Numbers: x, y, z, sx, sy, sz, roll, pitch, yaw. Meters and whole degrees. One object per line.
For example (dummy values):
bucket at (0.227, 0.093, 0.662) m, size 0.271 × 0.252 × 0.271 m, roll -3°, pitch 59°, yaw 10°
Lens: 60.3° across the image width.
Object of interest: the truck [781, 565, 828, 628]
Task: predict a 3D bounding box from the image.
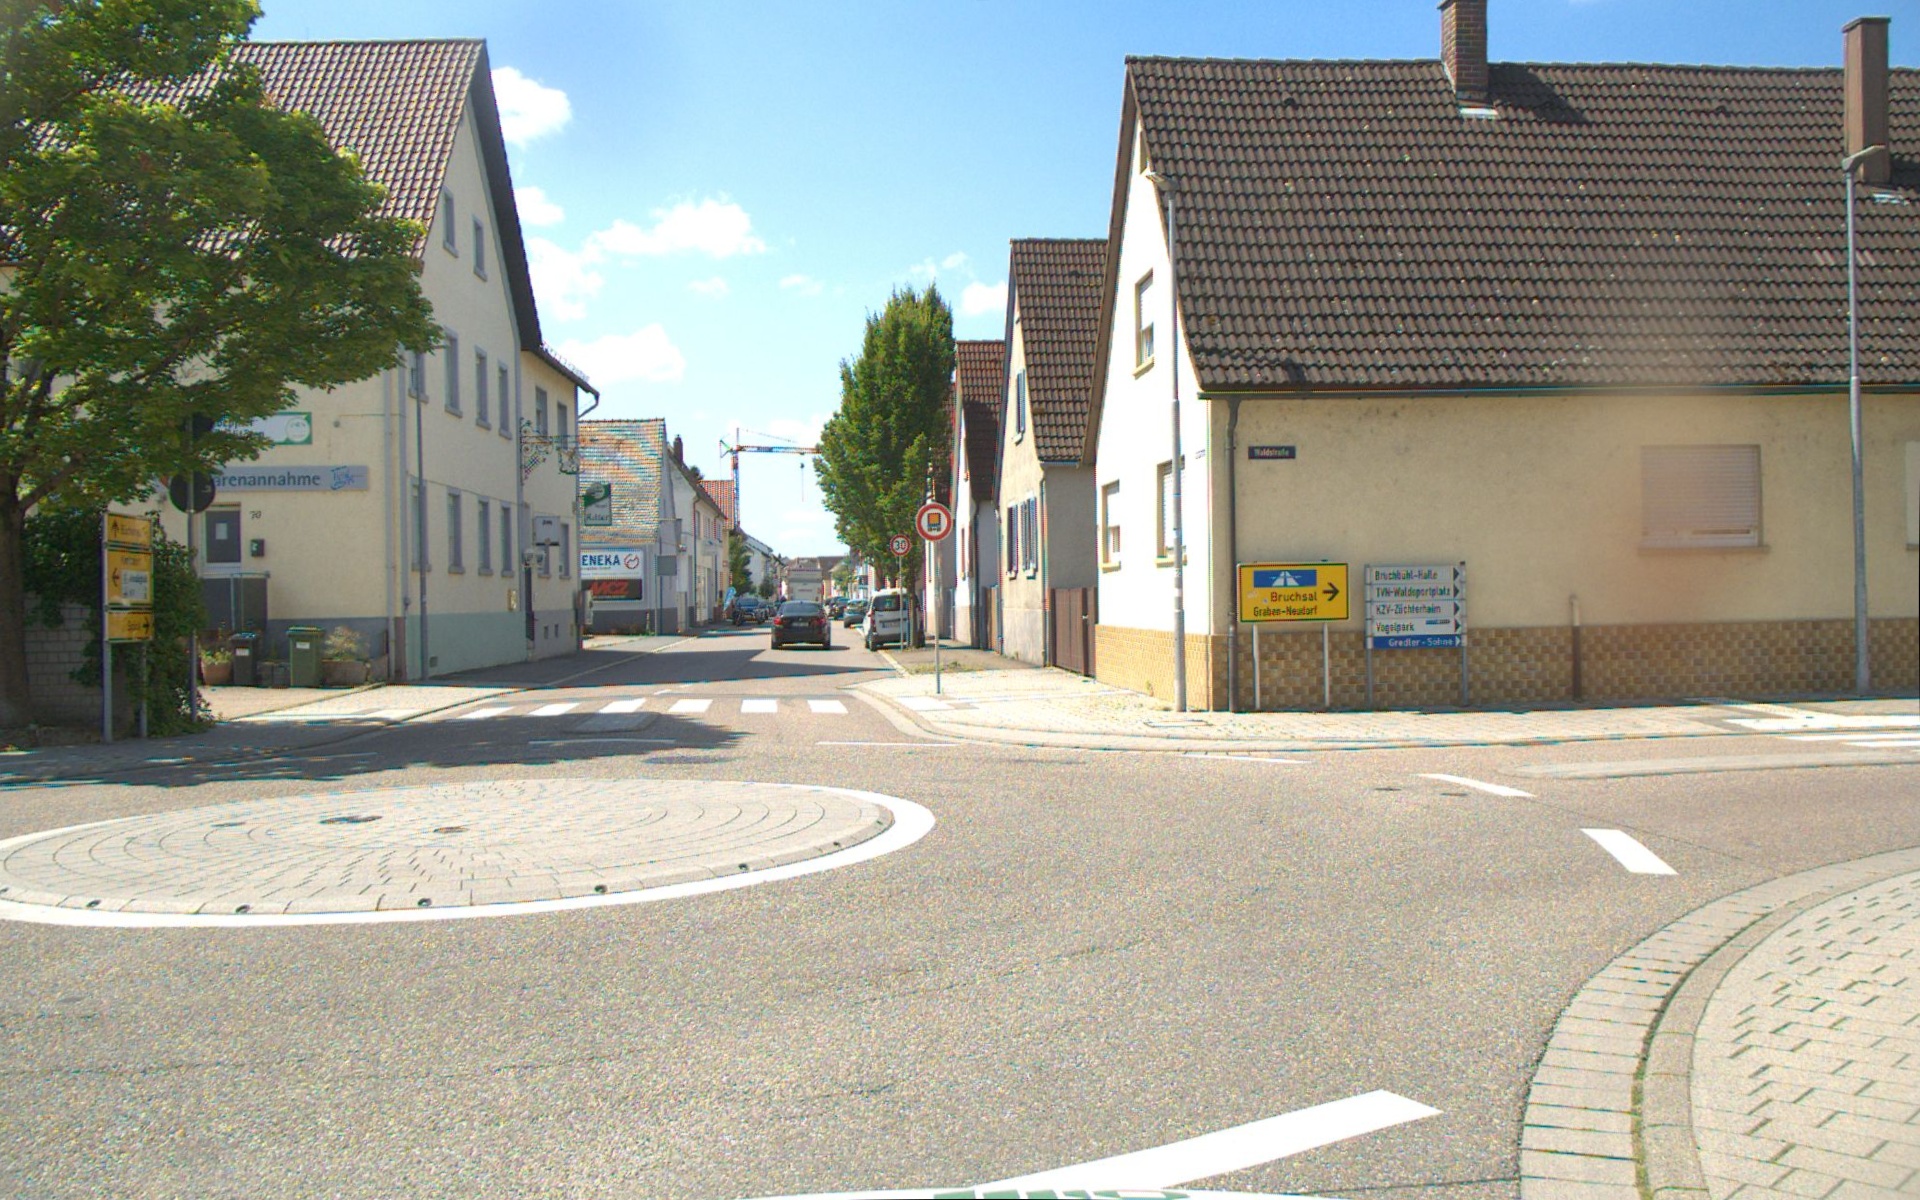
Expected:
truck at (-11.262, -0.213, 120.502) m, size 3.083 × 4.325 × 9.294 m, roll 1°, pitch -1°, yaw -4°

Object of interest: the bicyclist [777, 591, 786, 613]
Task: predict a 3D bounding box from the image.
bicyclist at (-16.746, 0.172, 155.133) m, size 0.725 × 2.095 × 0.843 m, roll 1°, pitch -1°, yaw -5°

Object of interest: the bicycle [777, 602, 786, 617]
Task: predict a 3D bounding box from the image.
bicycle at (-16.745, 0.894, 155.285) m, size 0.736 × 1.331 × 2.682 m, roll 1°, pitch -1°, yaw -5°

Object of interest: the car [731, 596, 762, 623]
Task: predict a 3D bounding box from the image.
car at (-13.095, 0.544, 101.440) m, size 1.774 × 1.617 × 3.995 m, roll 0°, pitch 0°, yaw -6°

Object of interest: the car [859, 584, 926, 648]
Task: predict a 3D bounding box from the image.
car at (-2.132, 0.474, 51.182) m, size 1.687 × 1.821 × 4.138 m, roll -2°, pitch 0°, yaw -7°

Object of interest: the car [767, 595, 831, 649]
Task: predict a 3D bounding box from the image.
car at (-5.038, 0.654, 52.204) m, size 1.864 × 1.591 × 4.473 m, roll 0°, pitch 0°, yaw -4°

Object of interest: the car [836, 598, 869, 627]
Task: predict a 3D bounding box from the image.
car at (-5.682, 0.634, 87.587) m, size 1.685 × 1.487 × 4.154 m, roll 0°, pitch 0°, yaw -3°

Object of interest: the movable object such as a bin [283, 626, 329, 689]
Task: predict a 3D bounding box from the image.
movable object such as a bin at (-11.866, 1.035, 30.023) m, size 0.587 × 1.097 × 0.658 m, roll -1°, pitch 0°, yaw -3°

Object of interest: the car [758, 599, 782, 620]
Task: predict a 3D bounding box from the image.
car at (-14.517, 0.717, 126.366) m, size 1.774 × 1.617 × 3.995 m, roll 0°, pitch 0°, yaw -6°

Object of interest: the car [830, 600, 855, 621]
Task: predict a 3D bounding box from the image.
car at (-8.278, 0.733, 115.911) m, size 1.686 × 1.379 × 4.152 m, roll 0°, pitch 0°, yaw -5°

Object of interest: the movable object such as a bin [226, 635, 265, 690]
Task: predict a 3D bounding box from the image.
movable object such as a bin at (-12.857, 1.119, 29.764) m, size 0.469 × 0.944 × 0.547 m, roll -1°, pitch 0°, yaw -3°

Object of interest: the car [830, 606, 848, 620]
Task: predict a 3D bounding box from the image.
car at (-12.049, 1.287, 164.826) m, size 1.686 × 1.291 × 4.152 m, roll 0°, pitch 0°, yaw -5°

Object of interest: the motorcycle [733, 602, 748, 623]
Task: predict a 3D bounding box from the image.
motorcycle at (-12.951, 0.737, 97.535) m, size 0.830 × 1.190 × 2.466 m, roll 1°, pitch -1°, yaw -6°

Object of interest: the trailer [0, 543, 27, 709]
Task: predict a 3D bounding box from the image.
trailer at (-14.582, 0.374, 22.179) m, size 1.842 × 2.376 × 4.519 m, roll 0°, pitch 0°, yaw -4°
